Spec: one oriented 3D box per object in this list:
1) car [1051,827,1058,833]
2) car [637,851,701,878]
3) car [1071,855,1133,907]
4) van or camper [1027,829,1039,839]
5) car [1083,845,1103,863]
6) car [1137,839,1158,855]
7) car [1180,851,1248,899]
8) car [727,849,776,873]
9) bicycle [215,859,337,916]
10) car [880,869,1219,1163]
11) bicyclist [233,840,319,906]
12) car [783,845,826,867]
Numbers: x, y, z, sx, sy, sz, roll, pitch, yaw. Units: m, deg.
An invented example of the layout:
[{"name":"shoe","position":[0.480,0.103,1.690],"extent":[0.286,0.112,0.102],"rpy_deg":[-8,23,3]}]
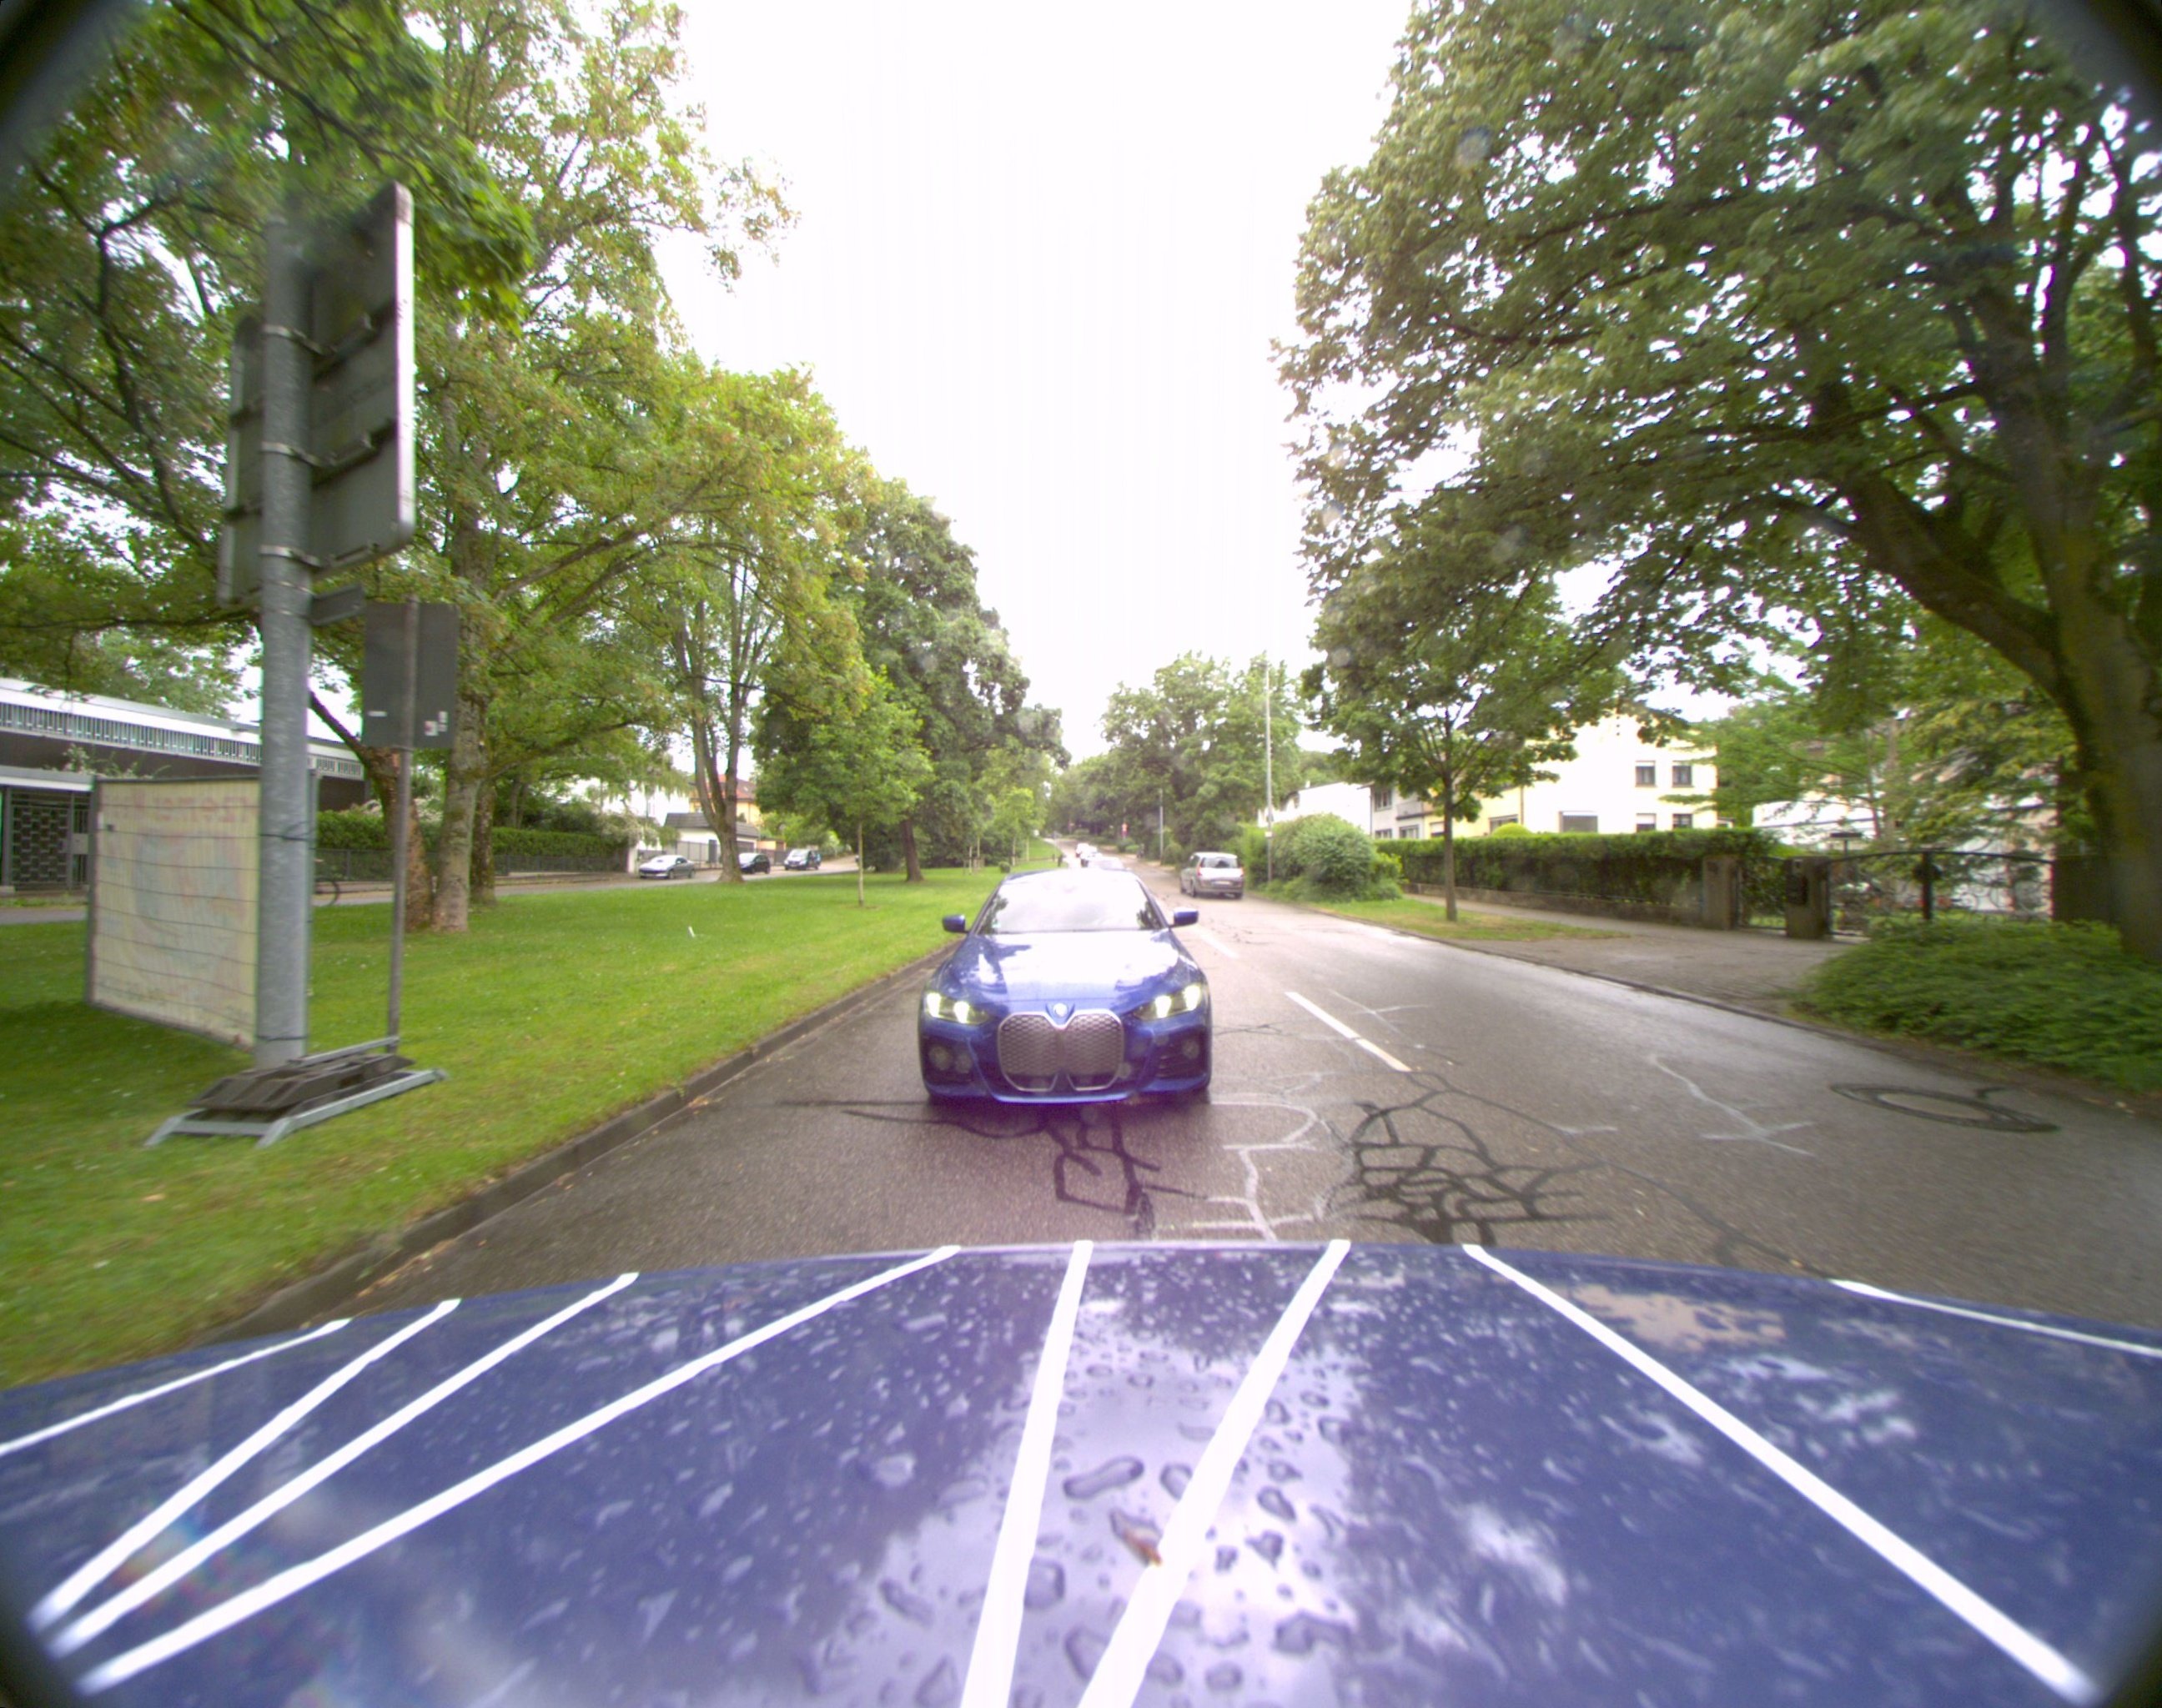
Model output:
[{"name":"car","position":[-6.653,-6.146,191.537],"extent":[1.759,1.356,4.322],"rpy_deg":[1,3,-1]},{"name":"car","position":[-23.386,0.573,43.294],"extent":[1.686,1.367,3.708],"rpy_deg":[2,1,-2]},{"name":"car","position":[0.709,0.805,24.501],"extent":[1.796,1.459,4.510],"rpy_deg":[0,0,3]},{"name":"van or camper","position":[-9.603,-4.029,151.510],"extent":[2.000,1.859,5.658],"rpy_deg":[0,3,-6]},{"name":"car","position":[1.080,-0.037,67.386],"extent":[1.678,1.542,3.831],"rpy_deg":[1,1,1]},{"name":"car","position":[7.363,-0.790,84.148],"extent":[1.668,1.534,4.281],"rpy_deg":[-4,2,-3]},{"name":"car","position":[4.765,0.709,27.755],"extent":[1.768,1.604,4.141],"rpy_deg":[1,0,0]},{"name":"car","position":[-24.098,0.468,55.722],"extent":[1.907,1.615,4.033],"rpy_deg":[0,1,-2]},{"name":"bicycle","position":[-17.289,0.693,16.386],"extent":[0.597,1.132,1.863],"rpy_deg":[0,1,1]},{"name":"car","position":[-0.075,0.939,6.407],"extent":[1.796,1.459,4.510],"rpy_deg":[-2,0,3]},{"name":"bicyclist","position":[-17.303,0.391,16.353],"extent":[0.746,1.383,1.000],"rpy_deg":[0,1,1]},{"name":"car","position":[-24.637,0.153,67.946],"extent":[2.165,1.868,5.067],"rpy_deg":[0,1,-2]}]
